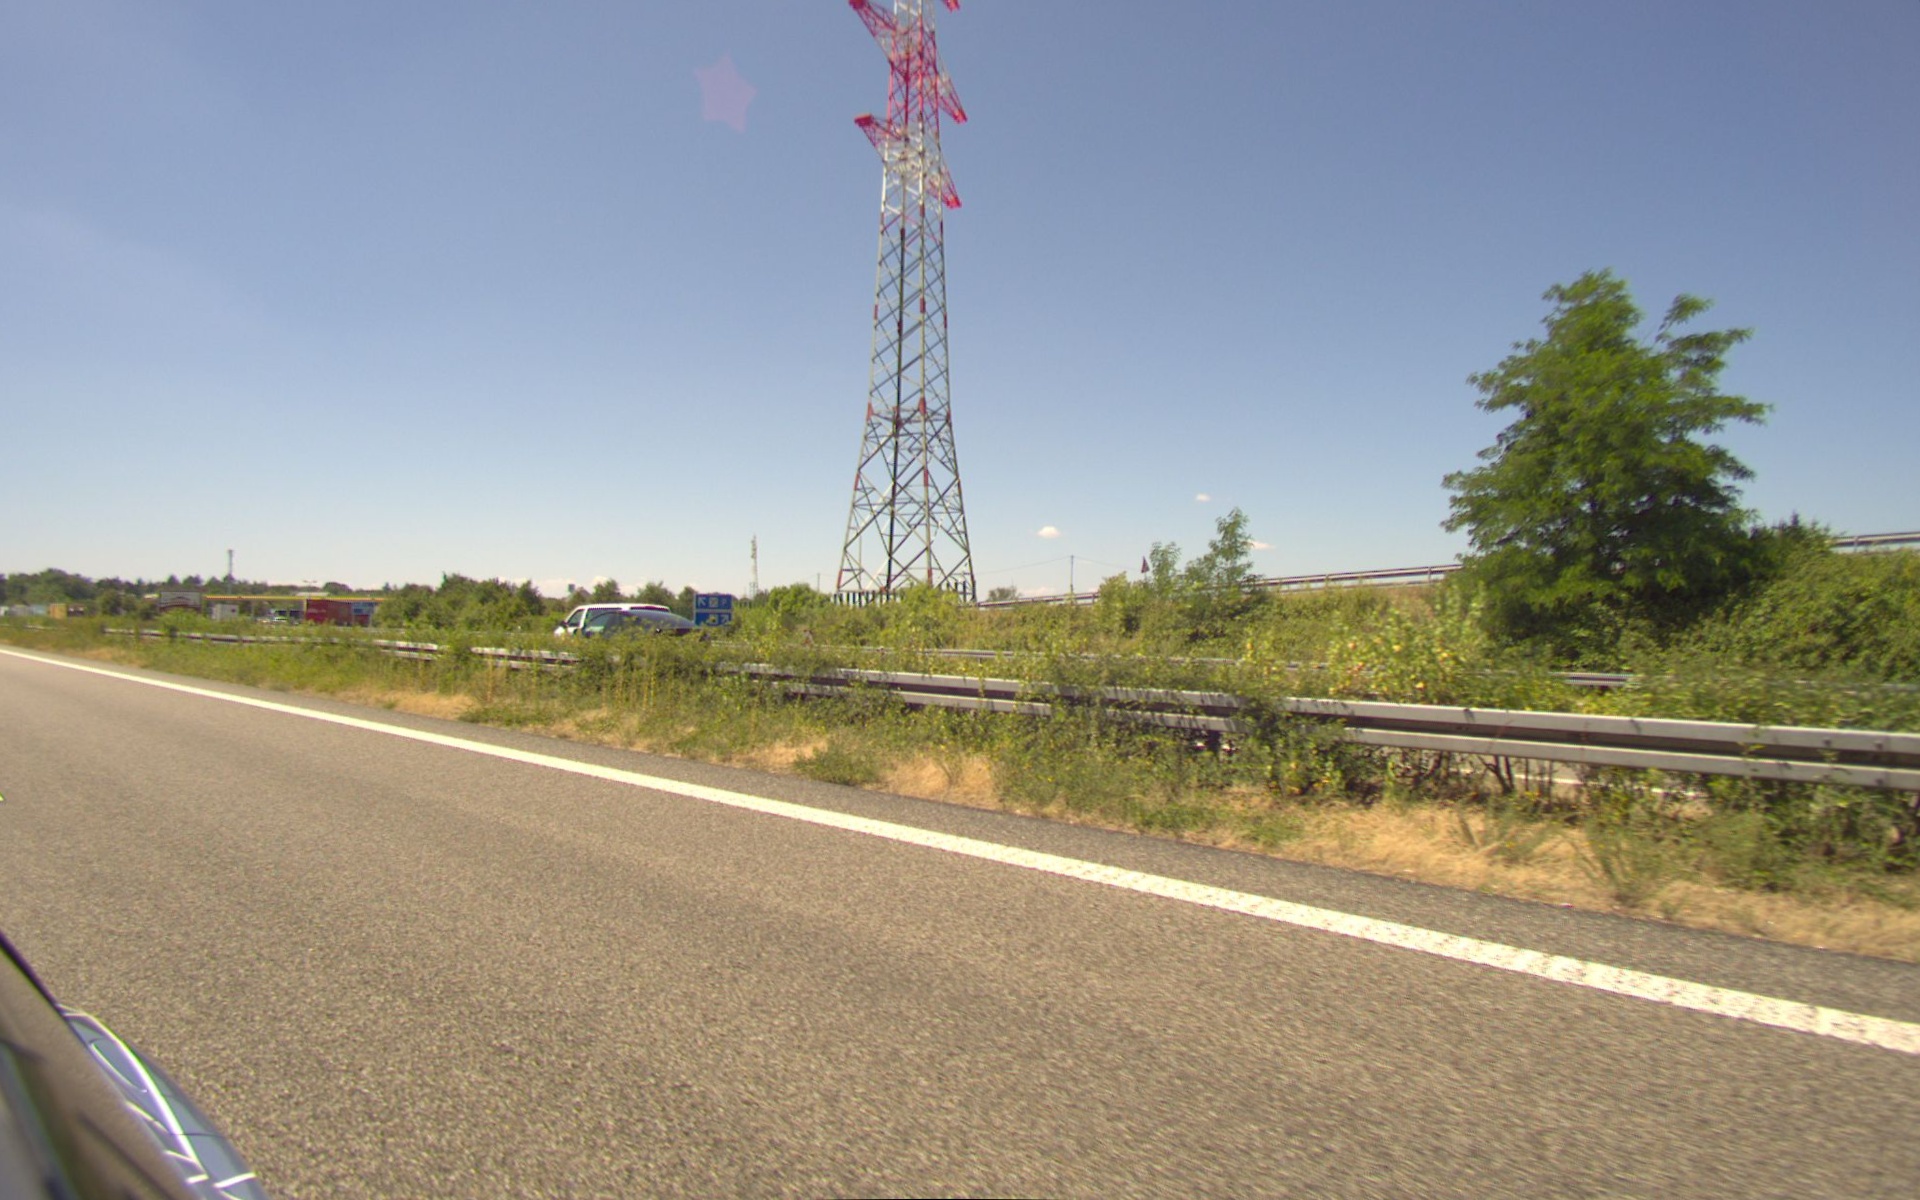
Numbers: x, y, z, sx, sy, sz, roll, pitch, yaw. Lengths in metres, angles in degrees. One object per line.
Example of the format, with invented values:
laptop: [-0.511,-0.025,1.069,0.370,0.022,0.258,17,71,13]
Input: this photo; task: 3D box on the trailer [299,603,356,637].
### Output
trailer: [-80.822,2.471,129.582,3.078,4.086,11.346,-1,0,-15]

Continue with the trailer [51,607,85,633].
trailer: [-156.192,3.504,177.161,11.074,4.251,2.805,-1,0,40]

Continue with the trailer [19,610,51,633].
trailer: [-173.920,4.042,190.160,12.074,4.180,2.805,-1,0,40]

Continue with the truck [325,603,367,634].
truck: [-82.684,2.451,136.452,3.075,4.080,6.664,-1,0,-15]

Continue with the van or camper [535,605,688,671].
van or camper: [-10.909,1.176,31.462,5.308,1.870,2.103,-1,-4,41]

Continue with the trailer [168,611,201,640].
trailer: [-134.933,4.362,176.042,9.133,4.886,3.000,-1,0,43]

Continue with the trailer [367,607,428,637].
trailer: [-85.628,3.268,154.286,3.122,4.298,11.063,-1,0,0]

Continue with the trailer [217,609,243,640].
trailer: [-123.824,4.110,171.724,3.257,4.911,9.708,-1,0,-34]

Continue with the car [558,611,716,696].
car: [-7.163,1.122,22.284,3.726,1.675,1.613,-1,0,41]

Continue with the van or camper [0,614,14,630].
van or camper: [-155.154,3.628,164.099,6.387,2.543,2.038,-1,0,41]
